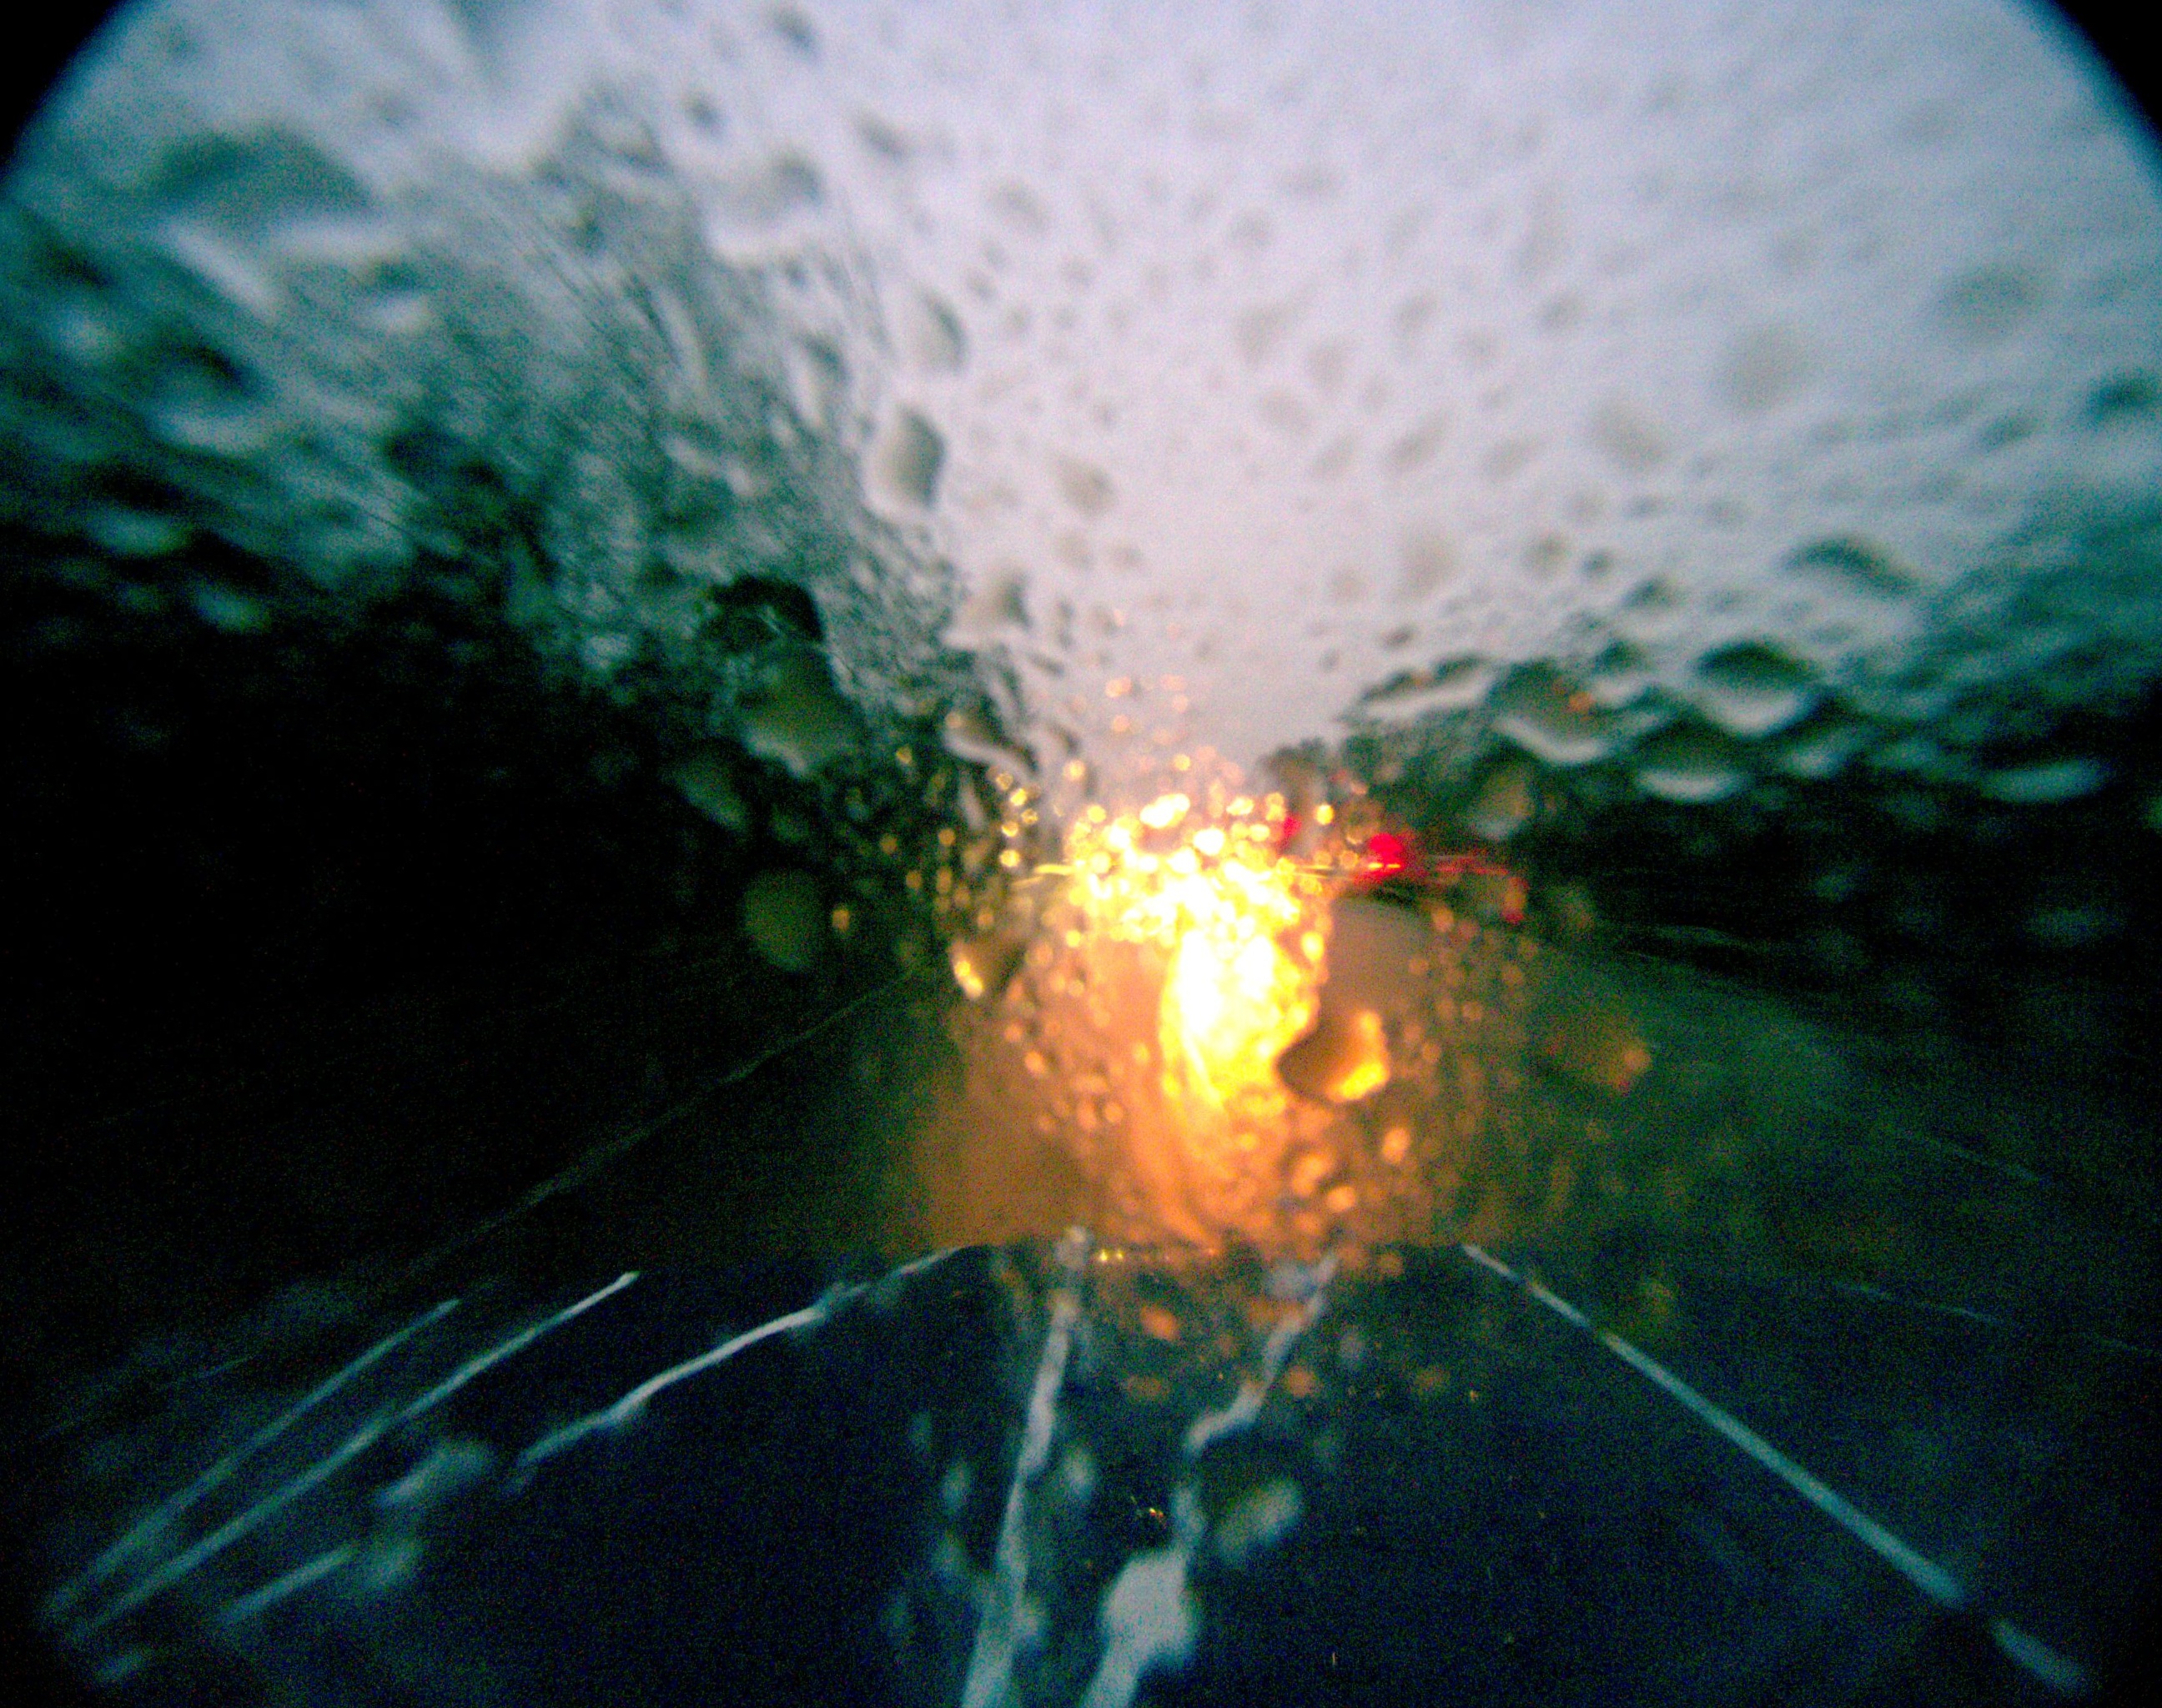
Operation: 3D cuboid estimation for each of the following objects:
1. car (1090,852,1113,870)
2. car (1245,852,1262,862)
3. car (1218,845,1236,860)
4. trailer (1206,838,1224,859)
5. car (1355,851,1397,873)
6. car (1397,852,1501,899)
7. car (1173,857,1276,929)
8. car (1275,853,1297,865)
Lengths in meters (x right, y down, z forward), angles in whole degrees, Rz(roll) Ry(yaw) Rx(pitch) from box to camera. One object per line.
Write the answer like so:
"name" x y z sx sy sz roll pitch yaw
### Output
"car" 1.866 0.621 69.724 1.841 1.553 3.867 -3 0 -1
"car" 24.885 0.383 109.600 1.549 1.314 4.258 -3 0 3
"car" 28.655 -0.257 149.313 2.533 2.714 6.341 -3 0 3
"trailer" 34.055 -1.434 193.267 3.496 4.819 13.485 -3 0 7
"car" 21.859 0.560 56.493 1.549 1.504 4.540 -1 1 3
"car" 14.255 0.771 29.739 1.846 1.647 4.669 -1 0 1
"car" 3.322 0.833 18.516 1.952 1.511 4.789 0 0 4
"car" 24.347 0.600 90.233 1.549 1.264 4.687 -3 0 3
